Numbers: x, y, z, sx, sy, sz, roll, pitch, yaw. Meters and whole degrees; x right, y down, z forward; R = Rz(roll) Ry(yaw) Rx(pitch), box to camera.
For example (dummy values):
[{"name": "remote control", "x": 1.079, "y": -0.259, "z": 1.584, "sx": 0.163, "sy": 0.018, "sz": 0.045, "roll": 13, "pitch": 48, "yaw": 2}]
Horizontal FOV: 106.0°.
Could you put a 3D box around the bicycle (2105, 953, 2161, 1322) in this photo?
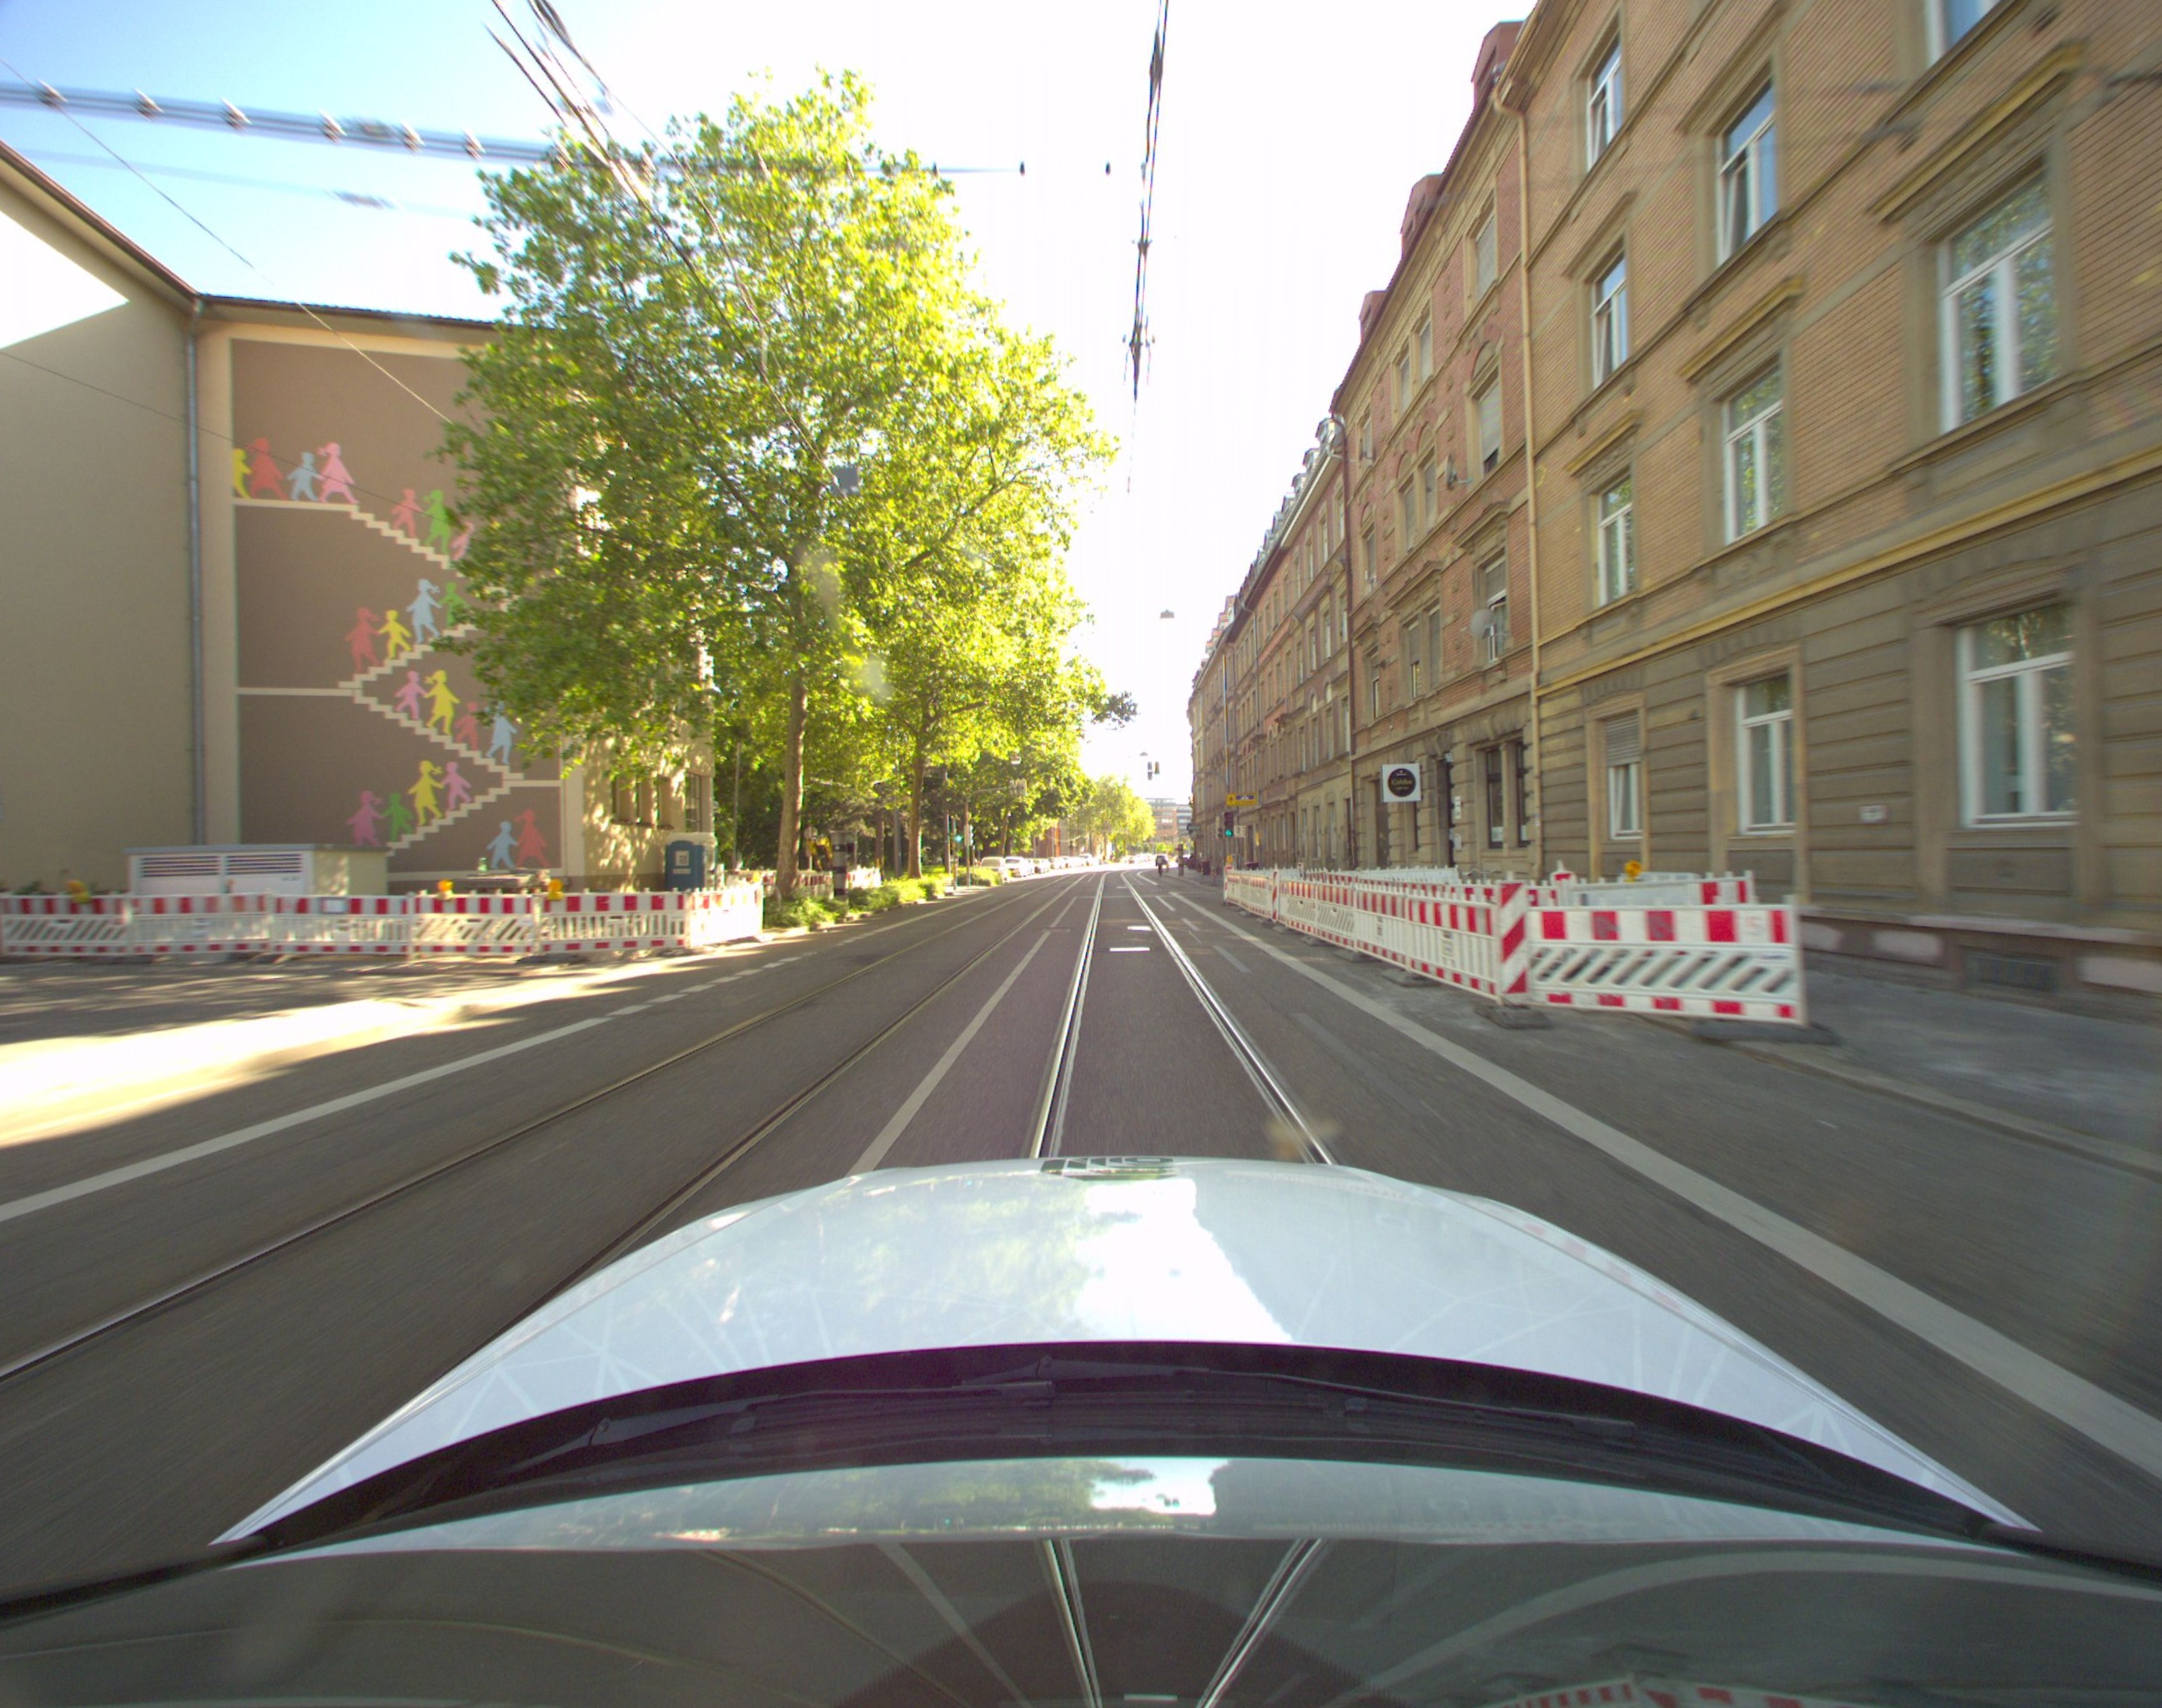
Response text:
[{"name": "bicycle", "x": 3.616, "y": 0.874, "z": 1.275, "sx": 0.678, "sy": 1.114, "sz": 2.708, "roll": 0, "pitch": 0, "yaw": 2}]

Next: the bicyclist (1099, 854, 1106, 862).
[{"name": "bicyclist", "x": 4.021, "y": 0.731, "z": 154.151, "sx": 1.071, "sy": 1.427, "sz": 1.149, "roll": 0, "pitch": -1, "yaw": 10}]

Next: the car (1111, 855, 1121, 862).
[{"name": "car", "x": 7.817, "y": 1.004, "z": 181.753, "sx": 1.739, "sy": 1.422, "sz": 4.050, "roll": 0, "pitch": -1, "yaw": 6}]

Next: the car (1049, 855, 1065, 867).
[{"name": "car", "x": -3.148, "y": 0.892, "z": 108.461, "sx": 1.740, "sy": 1.587, "sz": 4.048, "roll": 0, "pitch": -1, "yaw": 5}]

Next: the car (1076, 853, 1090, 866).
[{"name": "car", "x": 0.371, "y": 0.857, "z": 134.131, "sx": 2.049, "sy": 2.052, "sz": 4.048, "roll": 0, "pitch": -1, "yaw": 5}]

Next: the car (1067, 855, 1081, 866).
[{"name": "car", "x": -1.004, "y": 1.027, "z": 123.933, "sx": 1.740, "sy": 1.587, "sz": 4.048, "roll": 0, "pitch": -1, "yaw": 5}]

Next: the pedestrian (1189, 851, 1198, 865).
[{"name": "pedestrian", "x": 14.000, "y": 0.513, "z": 101.182, "sx": 1.050, "sy": 1.760, "sz": 1.333, "roll": 0, "pitch": -1, "yaw": 2}]

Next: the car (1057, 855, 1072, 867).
[{"name": "car", "x": -2.269, "y": 0.939, "z": 113.883, "sx": 1.740, "sy": 1.587, "sz": 4.048, "roll": 0, "pitch": -1, "yaw": 5}]

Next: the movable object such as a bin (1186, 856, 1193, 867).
[{"name": "movable object such as a bin", "x": 11.397, "y": 0.771, "z": 85.631, "sx": 0.693, "sy": 1.092, "sz": 0.741, "roll": 0, "pitch": -1, "yaw": -1}]

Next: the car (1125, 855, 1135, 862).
[{"name": "car", "x": 9.804, "y": 0.960, "z": 161.898, "sx": 1.739, "sy": 1.422, "sz": 4.051, "roll": 0, "pitch": -1, "yaw": 6}]

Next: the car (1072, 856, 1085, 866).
[{"name": "car", "x": -0.356, "y": 1.073, "z": 129.112, "sx": 1.740, "sy": 1.587, "sz": 4.048, "roll": 0, "pitch": -1, "yaw": 5}]

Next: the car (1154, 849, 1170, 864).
[{"name": "car", "x": 11.221, "y": 0.307, "z": 113.080, "sx": 1.986, "sy": 2.014, "sz": 4.002, "roll": 0, "pitch": -1, "yaw": 2}]

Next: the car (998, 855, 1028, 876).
[{"name": "car", "x": -5.351, "y": 0.881, "z": 64.820, "sx": 1.740, "sy": 1.608, "sz": 4.048, "roll": 0, "pitch": -1, "yaw": 5}]

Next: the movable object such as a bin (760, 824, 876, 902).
[{"name": "movable object such as a bin", "x": -9.698, "y": 0.320, "z": 30.723, "sx": 2.488, "sy": 2.645, "sz": 5.987, "roll": 0, "pitch": 0, "yaw": -1}]

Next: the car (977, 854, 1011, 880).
[{"name": "car", "x": -5.778, "y": 0.874, "z": 54.355, "sx": 1.538, "sy": 1.658, "sz": 3.767, "roll": 0, "pitch": -1, "yaw": 5}]

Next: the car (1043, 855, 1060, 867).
[{"name": "car", "x": -3.737, "y": 0.893, "z": 103.406, "sx": 1.740, "sy": 1.495, "sz": 4.048, "roll": 0, "pitch": -1, "yaw": 5}]

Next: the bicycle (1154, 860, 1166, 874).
[{"name": "bicycle", "x": 6.152, "y": 0.978, "z": 63.518, "sx": 0.852, "sy": 1.088, "sz": 2.488, "roll": 0, "pitch": -1, "yaw": 2}]

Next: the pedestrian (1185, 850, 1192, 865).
[{"name": "pedestrian", "x": 13.718, "y": 0.472, "z": 103.977, "sx": 0.779, "sy": 1.889, "sz": 0.973, "roll": 0, "pitch": -1, "yaw": 10}]

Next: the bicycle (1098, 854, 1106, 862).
[{"name": "bicycle", "x": 4.012, "y": 0.790, "z": 154.187, "sx": 1.227, "sy": 1.572, "sz": 2.904, "roll": 0, "pitch": -1, "yaw": 9}]

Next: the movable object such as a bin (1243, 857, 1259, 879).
[{"name": "movable object such as a bin", "x": 8.583, "y": 0.699, "z": 41.132, "sx": 0.618, "sy": 1.110, "sz": 0.780, "roll": 0, "pitch": -1, "yaw": -1}]

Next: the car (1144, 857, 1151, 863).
[{"name": "car", "x": 16.876, "y": 1.497, "z": 205.818, "sx": 1.739, "sy": 1.422, "sz": 4.051, "roll": 0, "pitch": -1, "yaw": 6}]

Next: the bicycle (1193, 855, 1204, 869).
[{"name": "bicycle", "x": 9.476, "y": 0.625, "z": 65.644, "sx": 0.637, "sy": 1.118, "sz": 2.298, "roll": 0, "pitch": -1, "yaw": 2}]

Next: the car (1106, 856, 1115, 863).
[{"name": "car", "x": 6.212, "y": 1.130, "z": 171.660, "sx": 1.739, "sy": 1.422, "sz": 4.050, "roll": 0, "pitch": -1, "yaw": 6}]

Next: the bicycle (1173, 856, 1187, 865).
[{"name": "bicycle", "x": 11.670, "y": 0.760, "z": 95.954, "sx": 0.633, "sy": 1.118, "sz": 2.312, "roll": 0, "pitch": -1, "yaw": 38}]

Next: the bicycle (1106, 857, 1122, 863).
[{"name": "bicycle", "x": 6.359, "y": 1.106, "z": 157.257, "sx": 2.868, "sy": 1.231, "sz": 0.887, "roll": 0, "pitch": -1, "yaw": 12}]

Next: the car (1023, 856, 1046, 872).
[{"name": "car", "x": -4.572, "y": 0.957, "z": 80.461, "sx": 1.740, "sy": 1.509, "sz": 4.048, "roll": 0, "pitch": -1, "yaw": 5}]

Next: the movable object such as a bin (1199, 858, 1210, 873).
[{"name": "movable object such as a bin", "x": 9.012, "y": 0.806, "z": 59.319, "sx": 0.671, "sy": 1.036, "sz": 0.814, "roll": -2, "pitch": 1, "yaw": 2}]

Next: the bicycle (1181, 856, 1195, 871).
[{"name": "bicycle", "x": 10.560, "y": 0.944, "z": 80.346, "sx": 0.964, "sy": 1.515, "sz": 3.258, "roll": 0, "pitch": -1, "yaw": 14}]

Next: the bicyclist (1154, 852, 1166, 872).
[{"name": "bicyclist", "x": 6.159, "y": 0.602, "z": 63.499, "sx": 0.835, "sy": 1.558, "sz": 0.966, "roll": 0, "pitch": -1, "yaw": 1}]
